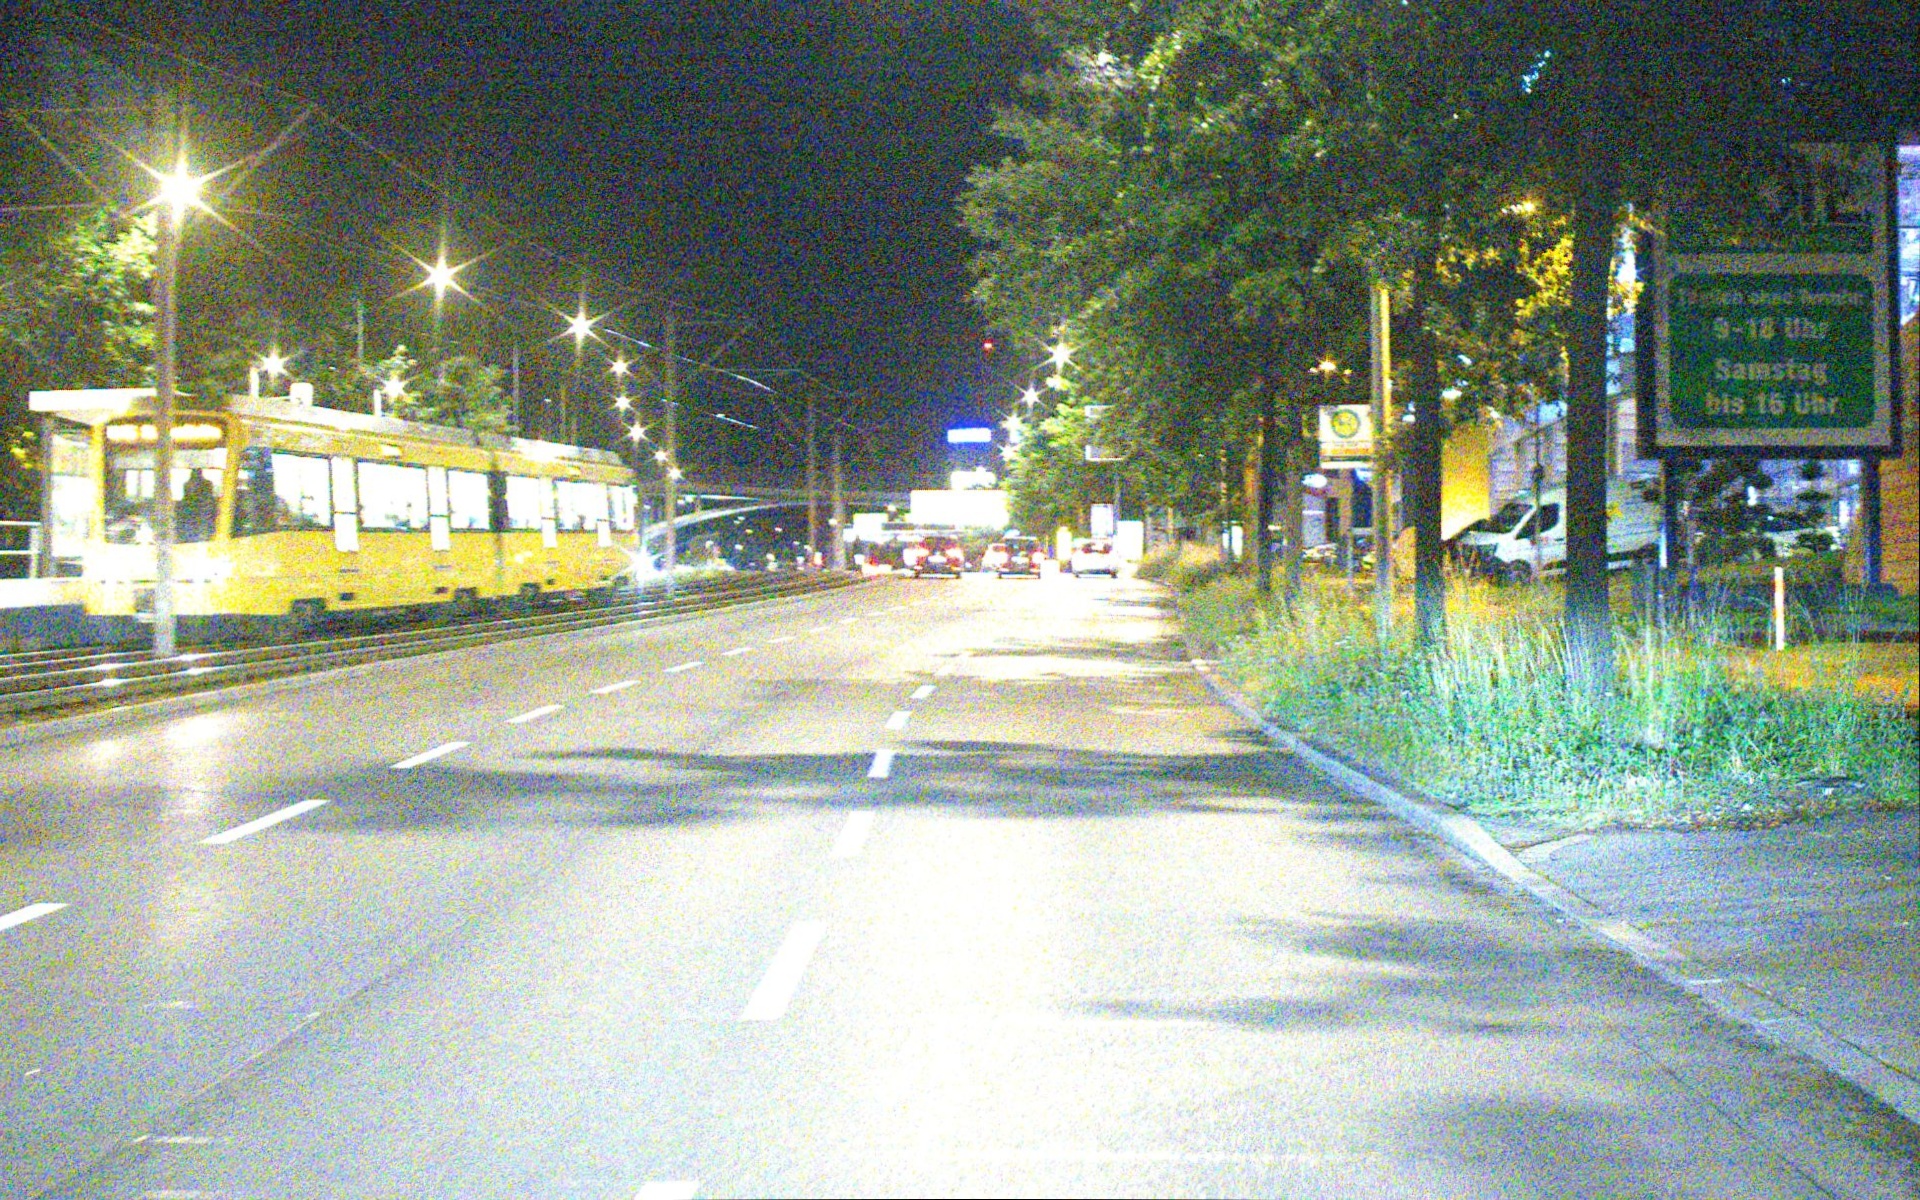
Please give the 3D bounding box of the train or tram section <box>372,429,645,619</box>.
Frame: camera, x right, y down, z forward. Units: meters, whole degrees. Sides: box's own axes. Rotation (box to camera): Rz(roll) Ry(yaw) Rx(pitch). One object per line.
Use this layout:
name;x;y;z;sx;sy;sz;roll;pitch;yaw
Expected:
train or tram section;-9.941;-1.676;78.471;2.759;3.814;18.669;0;1;3

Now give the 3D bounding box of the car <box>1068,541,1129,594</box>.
car;5.702;-1.341;142.421;2.427;2.106;4.826;1;0;2

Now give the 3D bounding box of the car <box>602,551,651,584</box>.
car;-15.464;-1.512;159.611;1.660;1.511;3.910;0;0;4

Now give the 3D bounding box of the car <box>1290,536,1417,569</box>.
car;15.696;-1.891;137.131;4.628;1.260;1.948;-1;2;-23

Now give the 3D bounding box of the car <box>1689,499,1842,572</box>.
car;20.235;-1.606;86.530;1.805;1.706;3.969;-3;1;-20

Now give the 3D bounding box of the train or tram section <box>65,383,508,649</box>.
train or tram section;-11.028;-1.367;59.443;2.738;3.833;19.362;0;1;3

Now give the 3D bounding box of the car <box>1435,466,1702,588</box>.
car;15.253;-1.826;86.307;6.015;2.520;2.284;-5;2;-14

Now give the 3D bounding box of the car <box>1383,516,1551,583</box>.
car;14.174;-1.424;96.258;4.201;1.657;1.961;-3;1;-8

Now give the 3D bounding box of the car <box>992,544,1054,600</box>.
car;2.483;-1.094;134.901;2.356;2.122;4.826;0;0;2

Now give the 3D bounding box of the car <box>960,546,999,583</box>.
car;1.006;-1.815;175.689;1.887;1.853;4.000;0;0;2

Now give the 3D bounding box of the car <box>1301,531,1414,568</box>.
car;15.540;-1.989;134.411;3.986;1.419;1.910;0;2;-15

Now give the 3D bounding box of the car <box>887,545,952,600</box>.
car;-1.498;-1.044;129.937;2.263;2.007;4.826;0;0;2
